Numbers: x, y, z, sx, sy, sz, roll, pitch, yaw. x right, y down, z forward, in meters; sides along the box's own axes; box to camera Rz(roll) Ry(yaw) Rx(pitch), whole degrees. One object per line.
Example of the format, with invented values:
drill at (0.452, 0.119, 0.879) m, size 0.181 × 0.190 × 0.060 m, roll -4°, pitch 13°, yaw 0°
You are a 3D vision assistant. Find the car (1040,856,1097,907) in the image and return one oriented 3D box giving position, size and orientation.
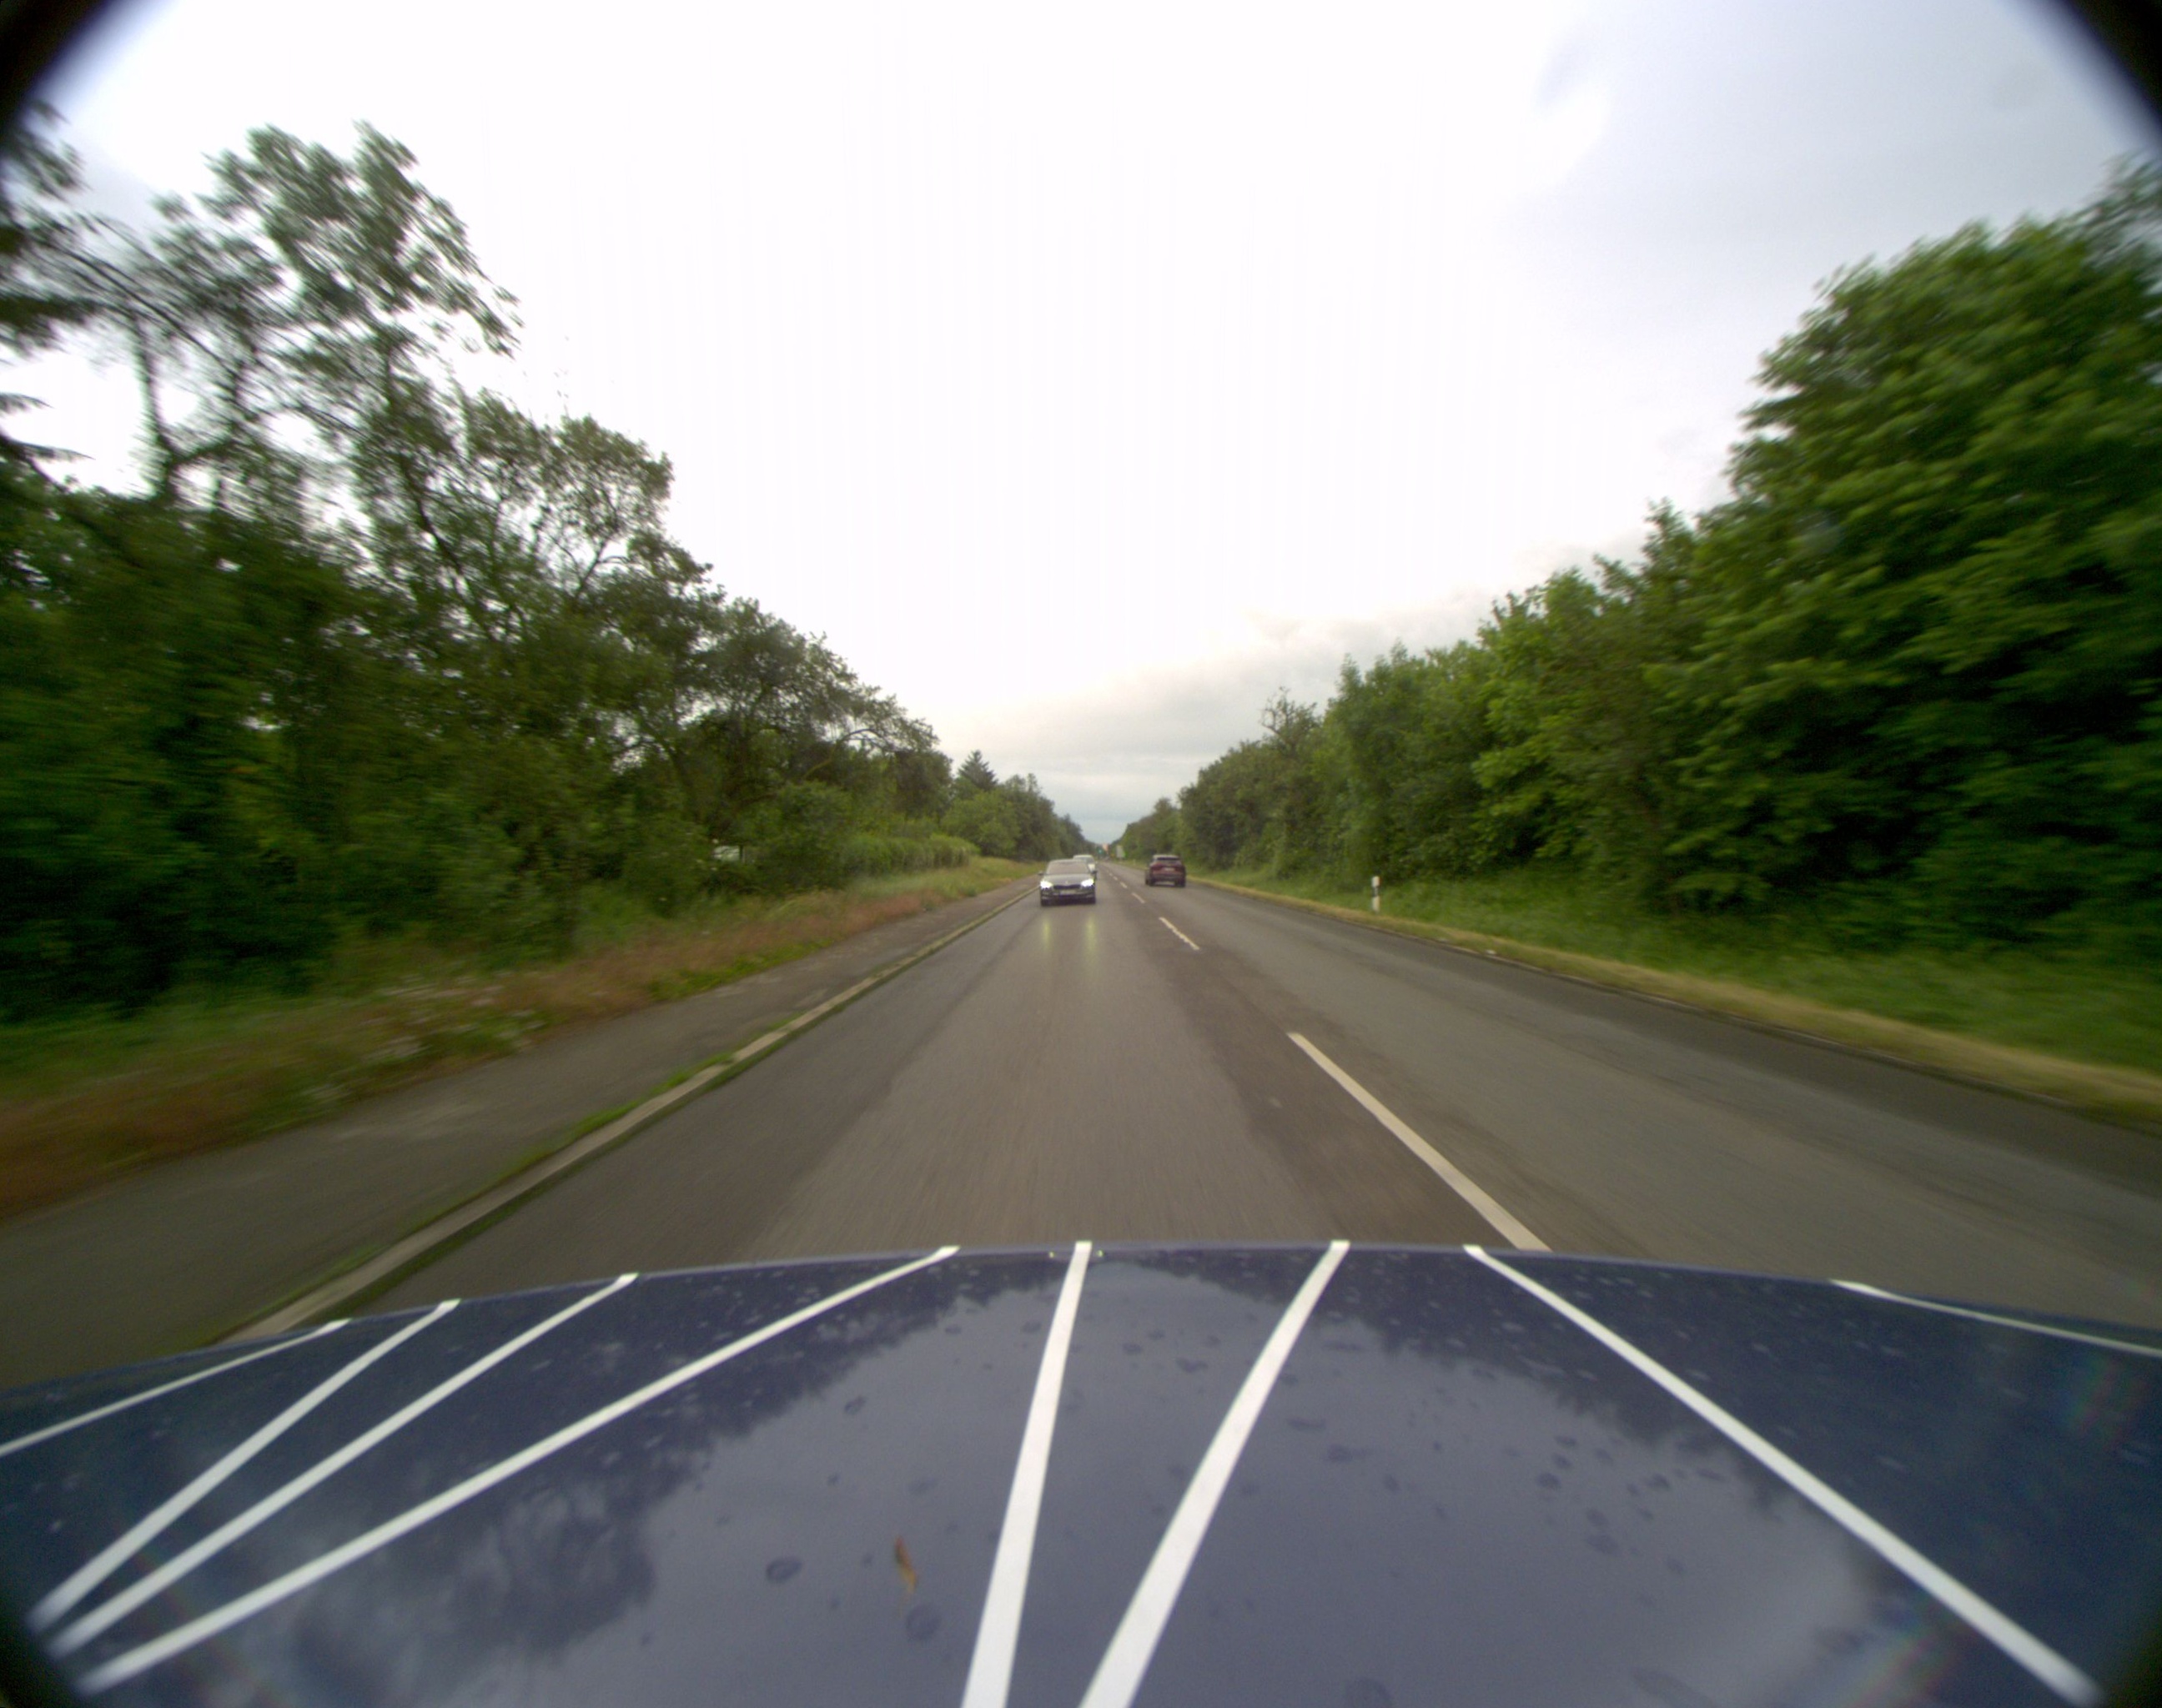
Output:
car at (-0.360, 0.861, 25.608) m, size 1.675 × 1.477 × 4.215 m, roll -3°, pitch -1°, yaw 1°

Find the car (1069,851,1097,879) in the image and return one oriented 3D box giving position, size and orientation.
car at (0.131, 0.708, 50.240) m, size 1.704 × 1.724 × 4.000 m, roll -1°, pitch 0°, yaw 0°

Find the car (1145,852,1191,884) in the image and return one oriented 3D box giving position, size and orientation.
car at (4.483, 0.682, 39.671) m, size 1.910 × 1.547 × 4.515 m, roll 0°, pitch 0°, yaw 0°

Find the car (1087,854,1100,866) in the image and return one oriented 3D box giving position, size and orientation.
car at (1.903, 0.862, 111.360) m, size 1.856 × 1.686 × 4.000 m, roll 0°, pitch 0°, yaw 2°
